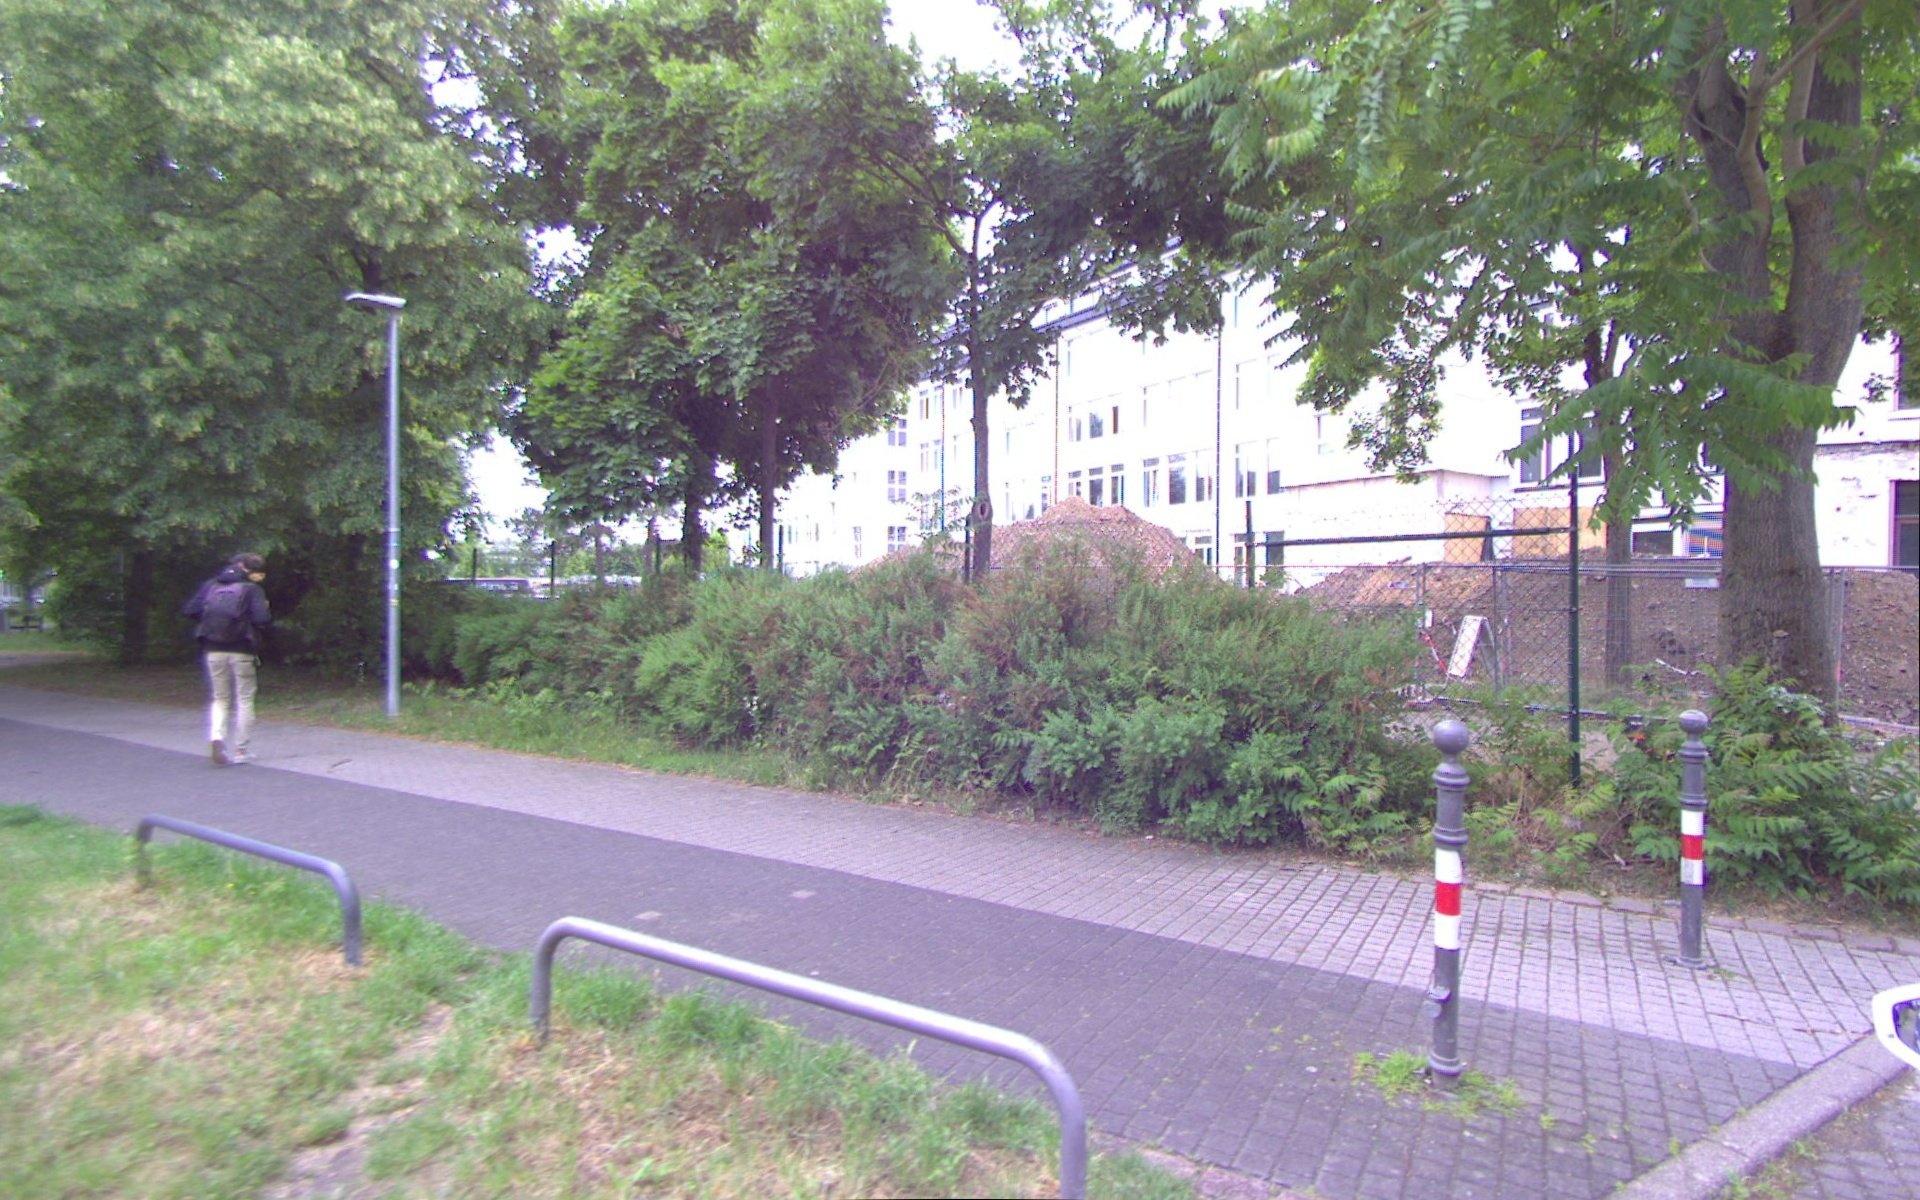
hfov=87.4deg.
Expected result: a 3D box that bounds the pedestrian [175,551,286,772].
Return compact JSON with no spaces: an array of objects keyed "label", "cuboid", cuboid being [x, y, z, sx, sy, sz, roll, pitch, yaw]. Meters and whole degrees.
[{"label":"pedestrian","cuboid":[-6.155,0.495,8.503,0.673,1.773,0.616,0,0,-29]}]

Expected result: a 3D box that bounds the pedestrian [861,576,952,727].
[{"label":"pedestrian","cuboid":[-0.784,0.711,14.596,0.787,2.092,1.188,1,0,-36]}]
